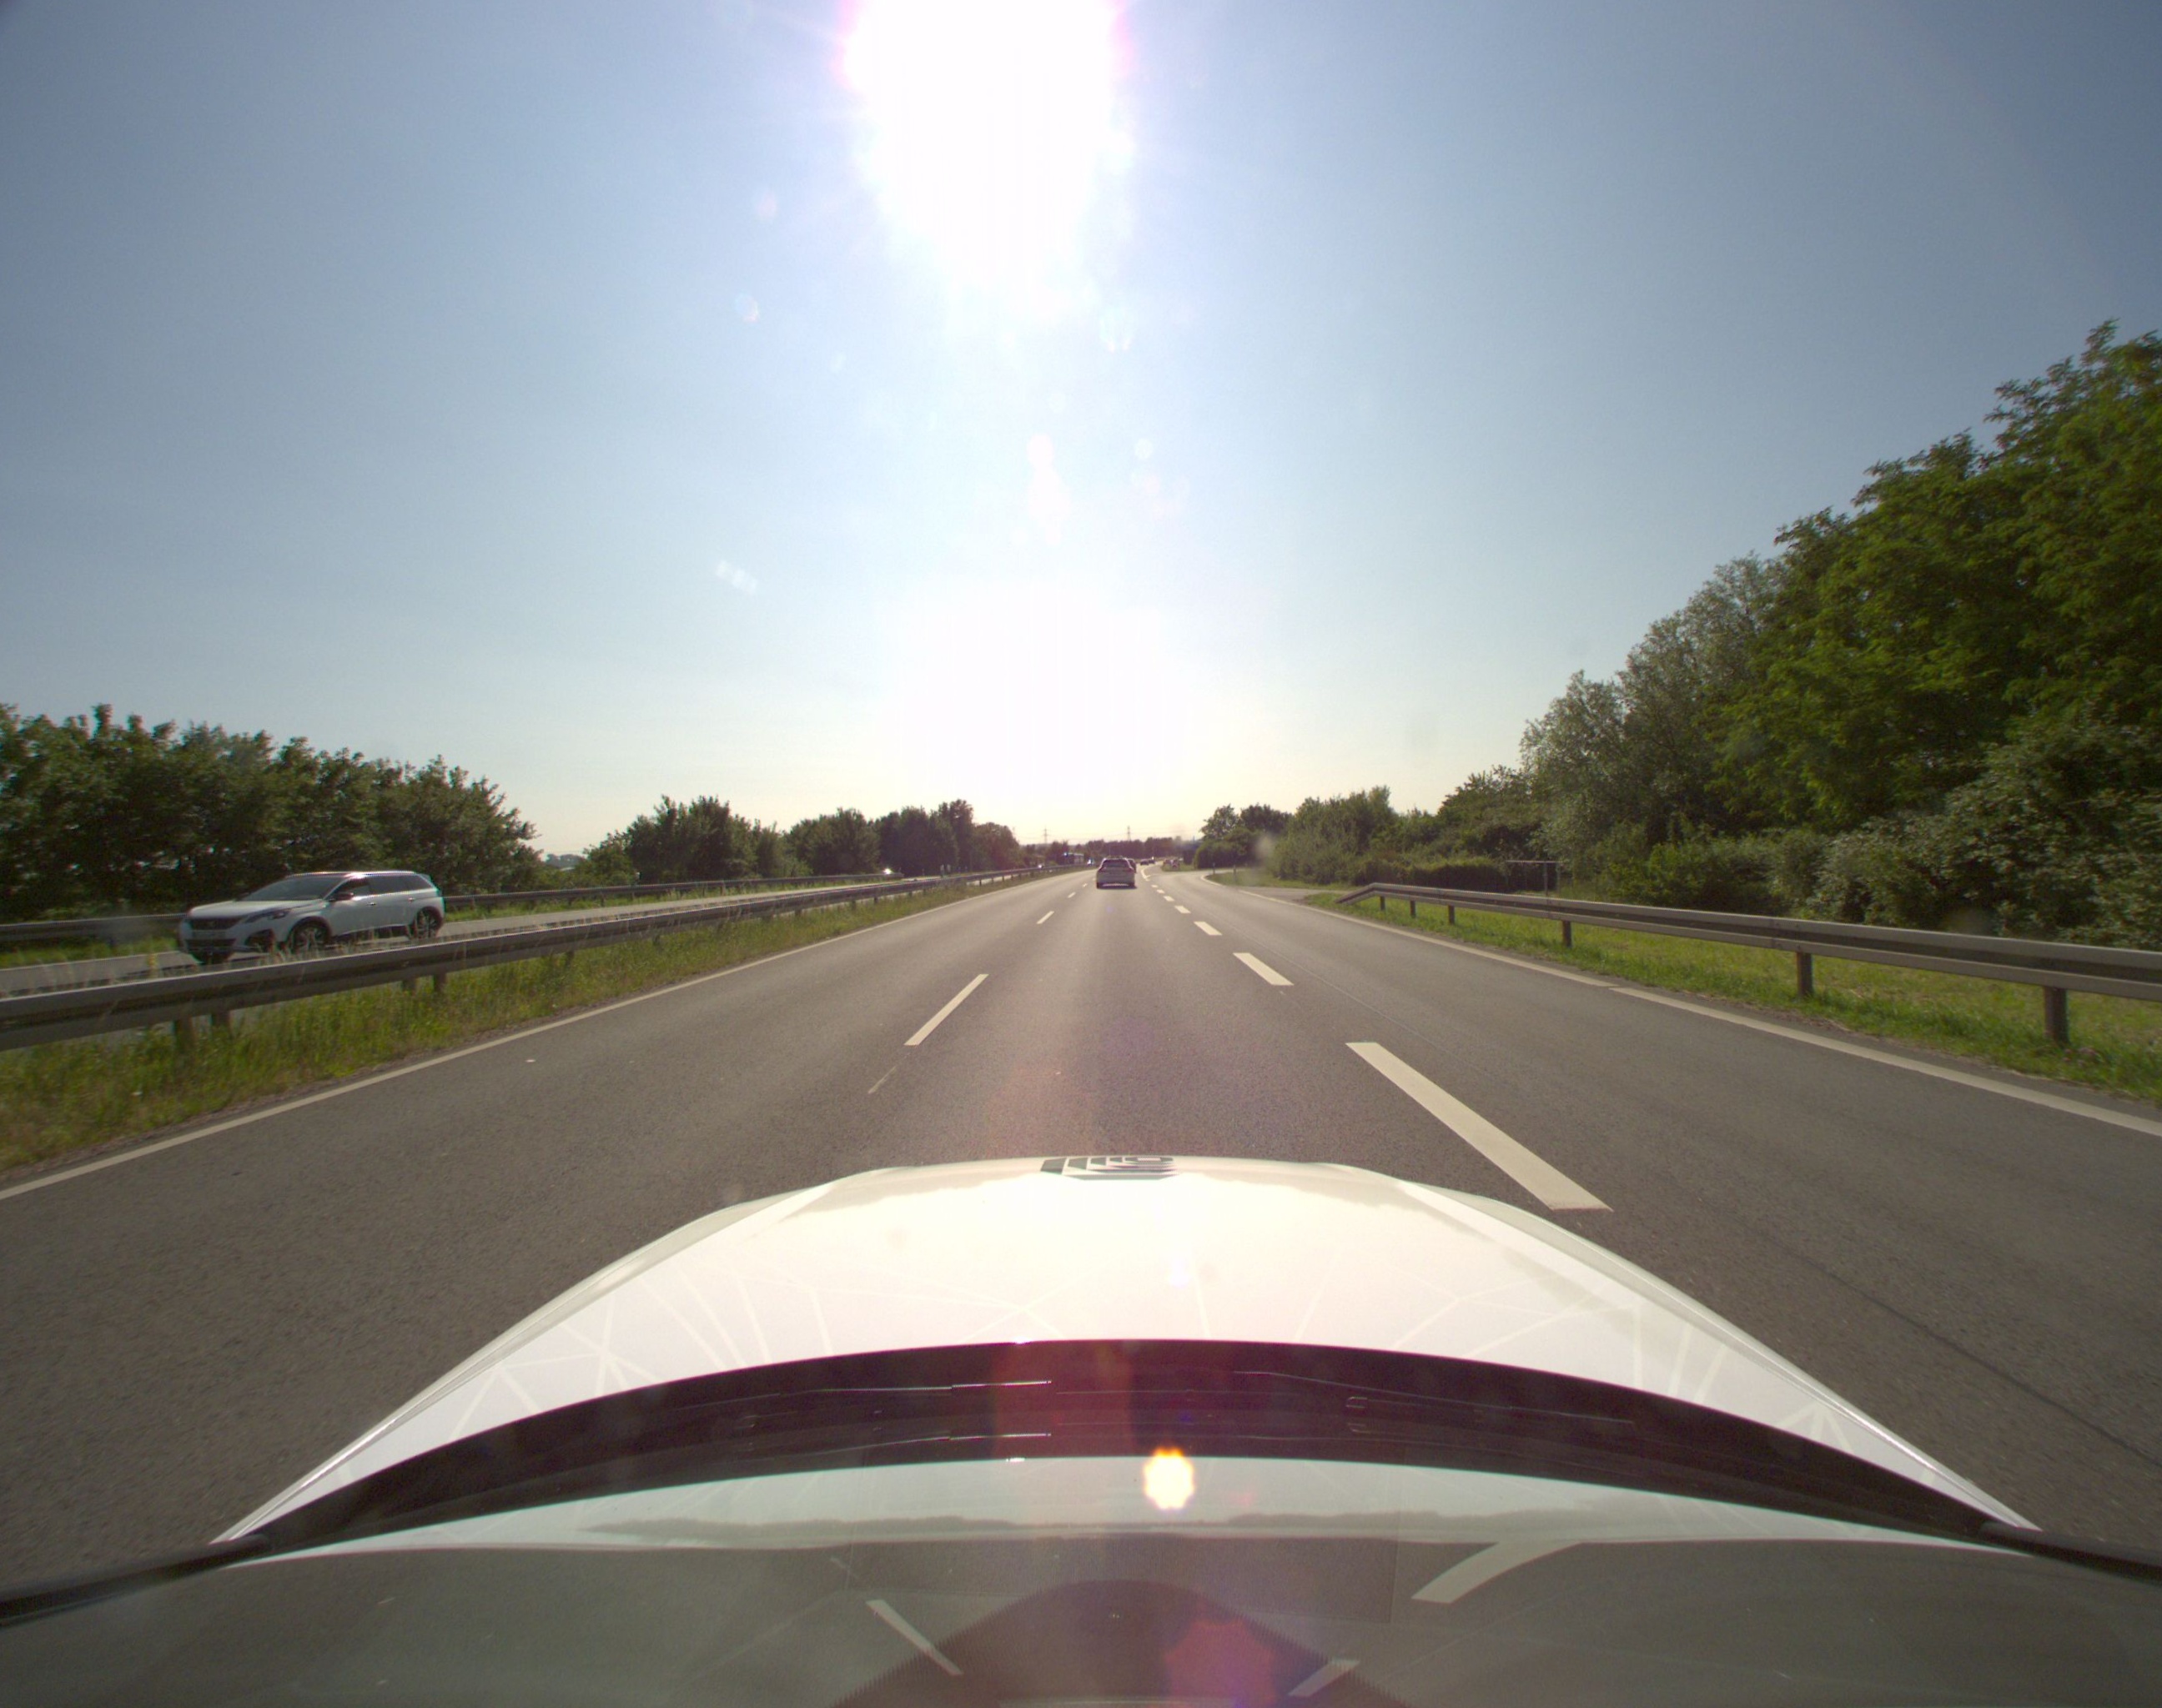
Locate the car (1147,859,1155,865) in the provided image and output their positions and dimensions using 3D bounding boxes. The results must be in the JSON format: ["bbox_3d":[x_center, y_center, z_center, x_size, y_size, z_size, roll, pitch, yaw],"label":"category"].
[{"bbox_3d":[18.955,2.210,220.551,1.833,1.698,4.004,-1,-1,3],"label":"car"}]

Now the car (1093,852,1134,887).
[{"bbox_3d":[1.661,0.745,40.472,1.950,1.601,4.111,0,0,4],"label":"car"}]

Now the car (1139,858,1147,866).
[{"bbox_3d":[14.760,1.980,192.832,1.832,1.802,4.006,-1,-1,5],"label":"car"}]

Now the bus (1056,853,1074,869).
[{"bbox_3d":[-3.298,1.457,169.176,2.713,3.110,9.845,-2,0,4],"label":"bus"}]

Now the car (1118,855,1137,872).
[{"bbox_3d":[4.560,0.930,80.136,1.786,1.543,3.674,-1,0,3],"label":"car"}]

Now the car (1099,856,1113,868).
[{"bbox_3d":[3.487,1.080,112.310,1.786,1.503,4.045,-1,0,2],"label":"car"}]

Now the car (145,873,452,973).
[{"bbox_3d":[-15.549,1.265,16.655,1.896,1.620,4.626,0,0,-2],"label":"car"}]
